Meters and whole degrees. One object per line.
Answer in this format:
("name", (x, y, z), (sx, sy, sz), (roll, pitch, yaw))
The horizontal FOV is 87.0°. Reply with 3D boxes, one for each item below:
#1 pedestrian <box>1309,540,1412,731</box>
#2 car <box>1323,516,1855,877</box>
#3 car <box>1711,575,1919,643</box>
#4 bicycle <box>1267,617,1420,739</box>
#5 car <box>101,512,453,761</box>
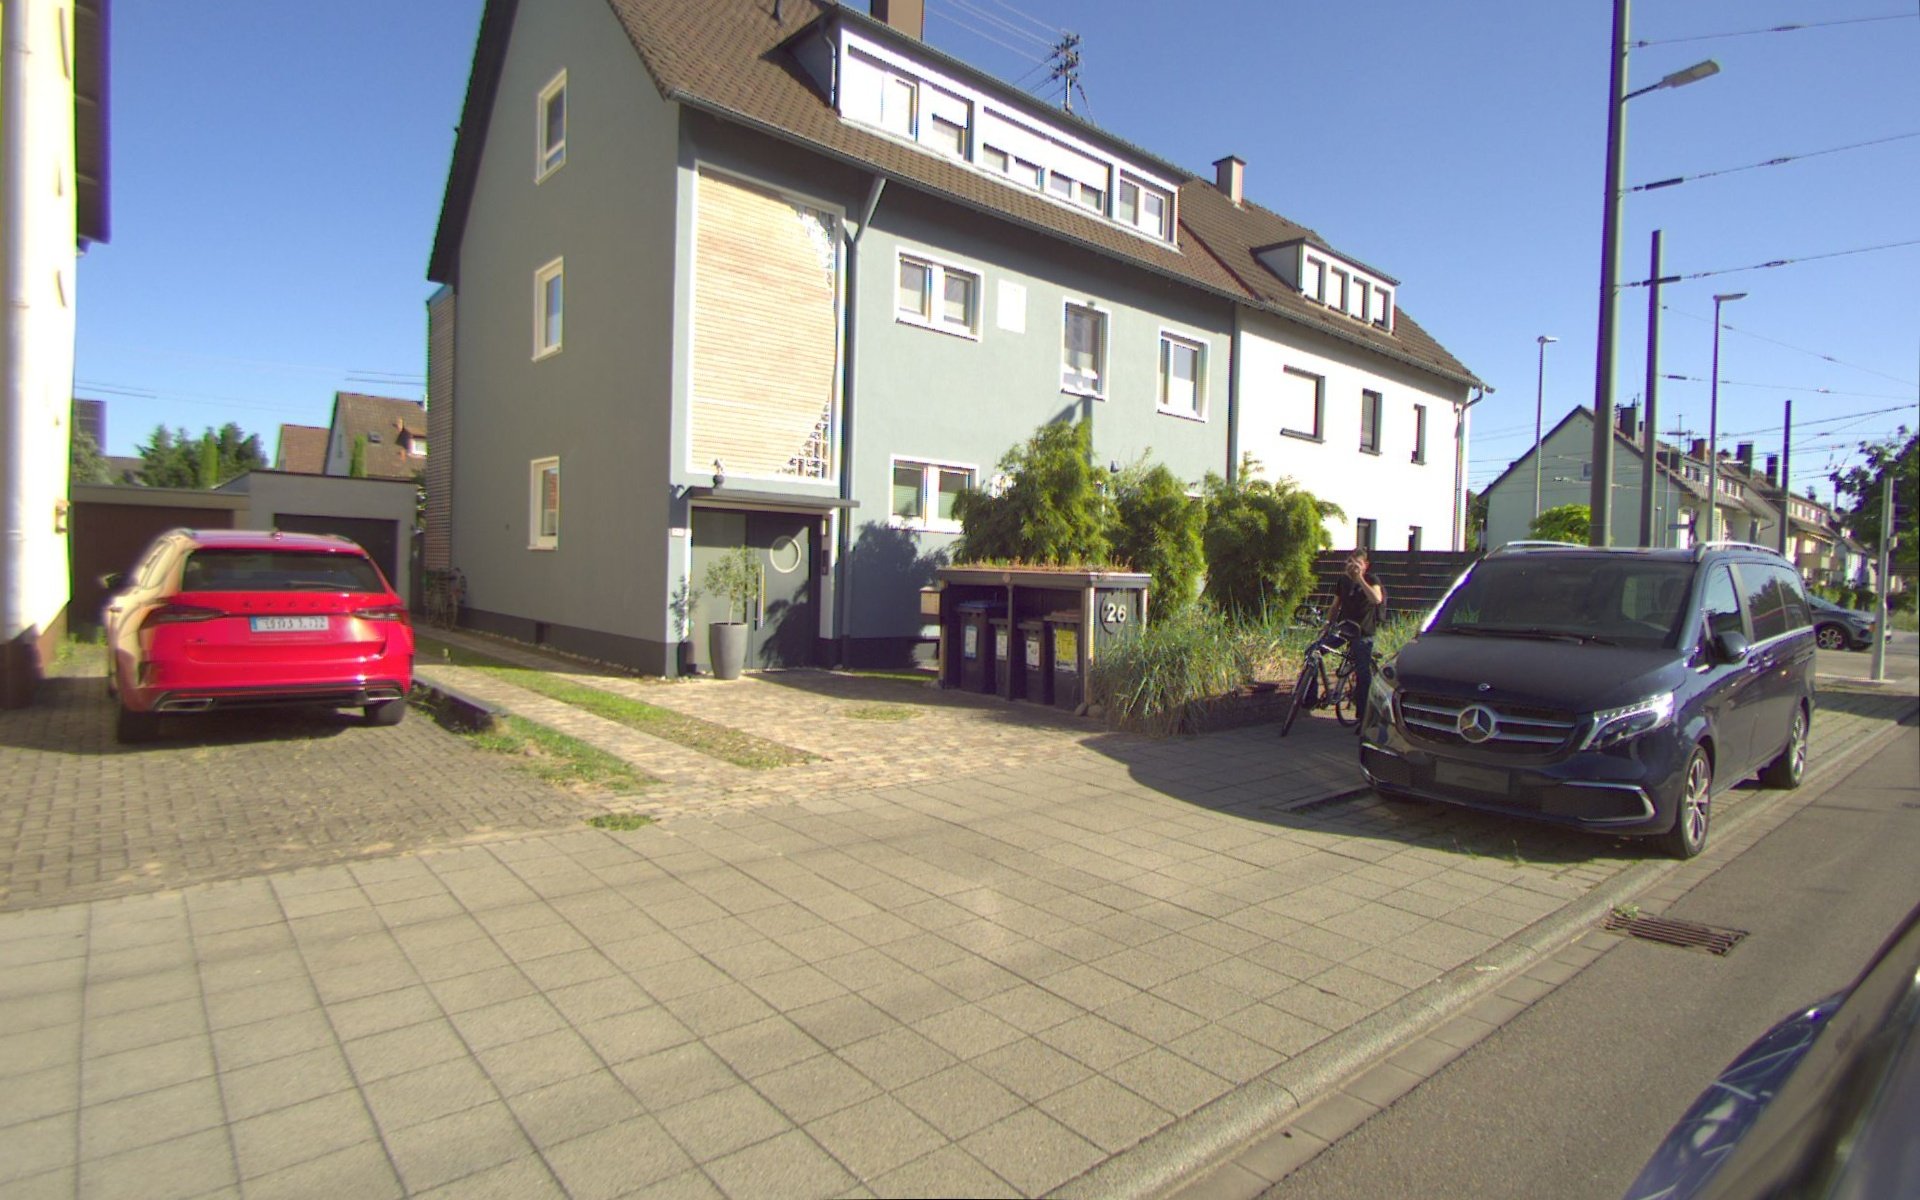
("pedestrian", (3.829, 0.313, 9.680), (0.701, 1.744, 0.584), (0, 2, -39))
("car", (4.893, 0.446, 7.527), (4.841, 1.859, 1.966), (0, 2, -41))
("car", (23.183, 0.196, 27.535), (1.795, 1.598, 4.005), (1, 2, -31))
("bicycle", (3.617, 0.690, 9.506), (1.534, 0.991, 0.602), (0, 4, -39))
("car", (-5.718, 0.124, 8.221), (1.867, 1.485, 4.173), (1, 2, -41))
